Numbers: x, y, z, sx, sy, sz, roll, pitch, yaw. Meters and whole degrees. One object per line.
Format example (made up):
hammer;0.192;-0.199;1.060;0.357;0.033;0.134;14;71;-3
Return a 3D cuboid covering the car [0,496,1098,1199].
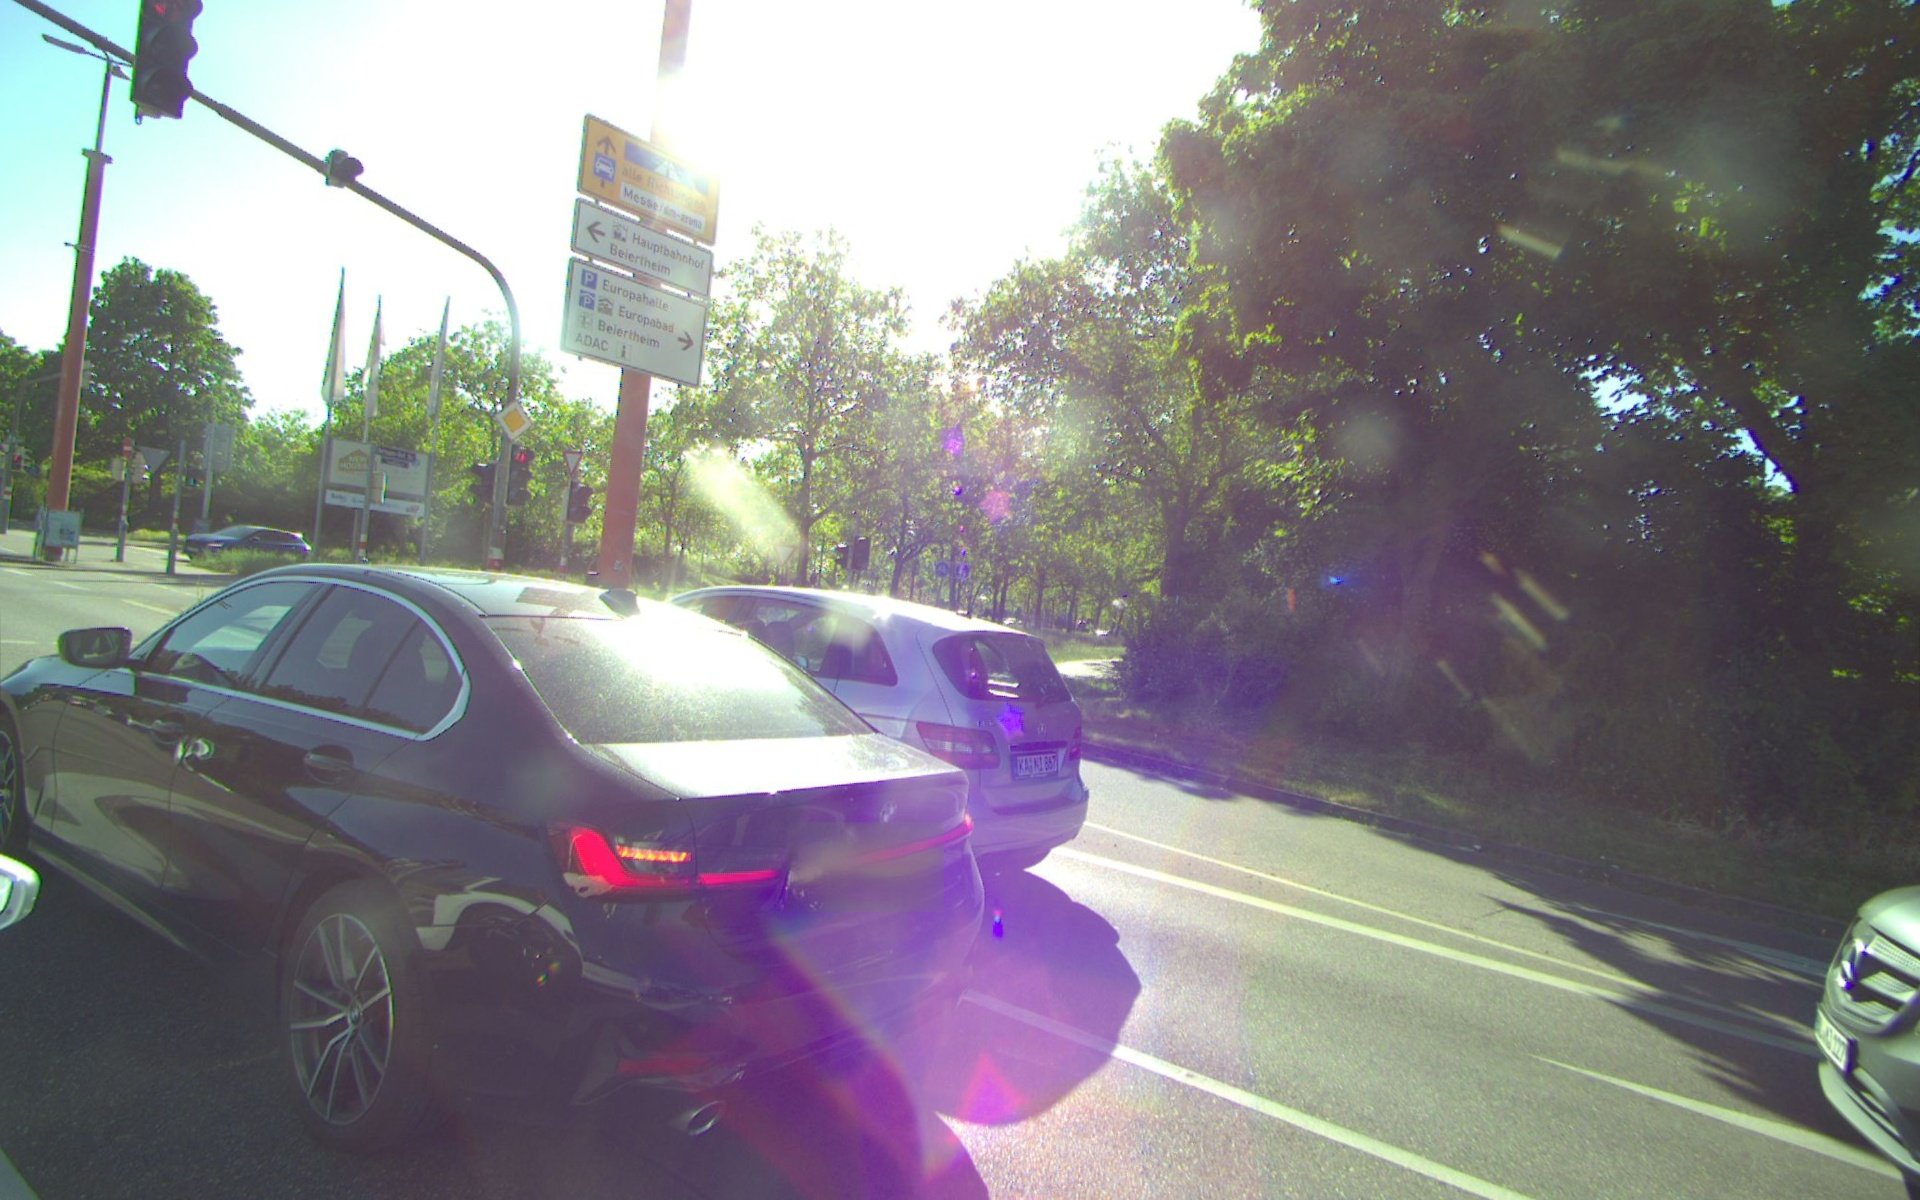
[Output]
car;-1.958;0.530;3.881;4.403;1.411;1.996;7;0;32

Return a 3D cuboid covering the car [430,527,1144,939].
car;-1.280;0.641;6.789;4.403;1.706;1.970;7;-1;32

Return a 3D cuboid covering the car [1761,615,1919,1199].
car;5.337;1.296;2.334;5.063;1.916;1.996;7;0;32

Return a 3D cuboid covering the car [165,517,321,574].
car;-25.557;-1.904;36.073;1.848;1.445;4.283;7;-1;14
